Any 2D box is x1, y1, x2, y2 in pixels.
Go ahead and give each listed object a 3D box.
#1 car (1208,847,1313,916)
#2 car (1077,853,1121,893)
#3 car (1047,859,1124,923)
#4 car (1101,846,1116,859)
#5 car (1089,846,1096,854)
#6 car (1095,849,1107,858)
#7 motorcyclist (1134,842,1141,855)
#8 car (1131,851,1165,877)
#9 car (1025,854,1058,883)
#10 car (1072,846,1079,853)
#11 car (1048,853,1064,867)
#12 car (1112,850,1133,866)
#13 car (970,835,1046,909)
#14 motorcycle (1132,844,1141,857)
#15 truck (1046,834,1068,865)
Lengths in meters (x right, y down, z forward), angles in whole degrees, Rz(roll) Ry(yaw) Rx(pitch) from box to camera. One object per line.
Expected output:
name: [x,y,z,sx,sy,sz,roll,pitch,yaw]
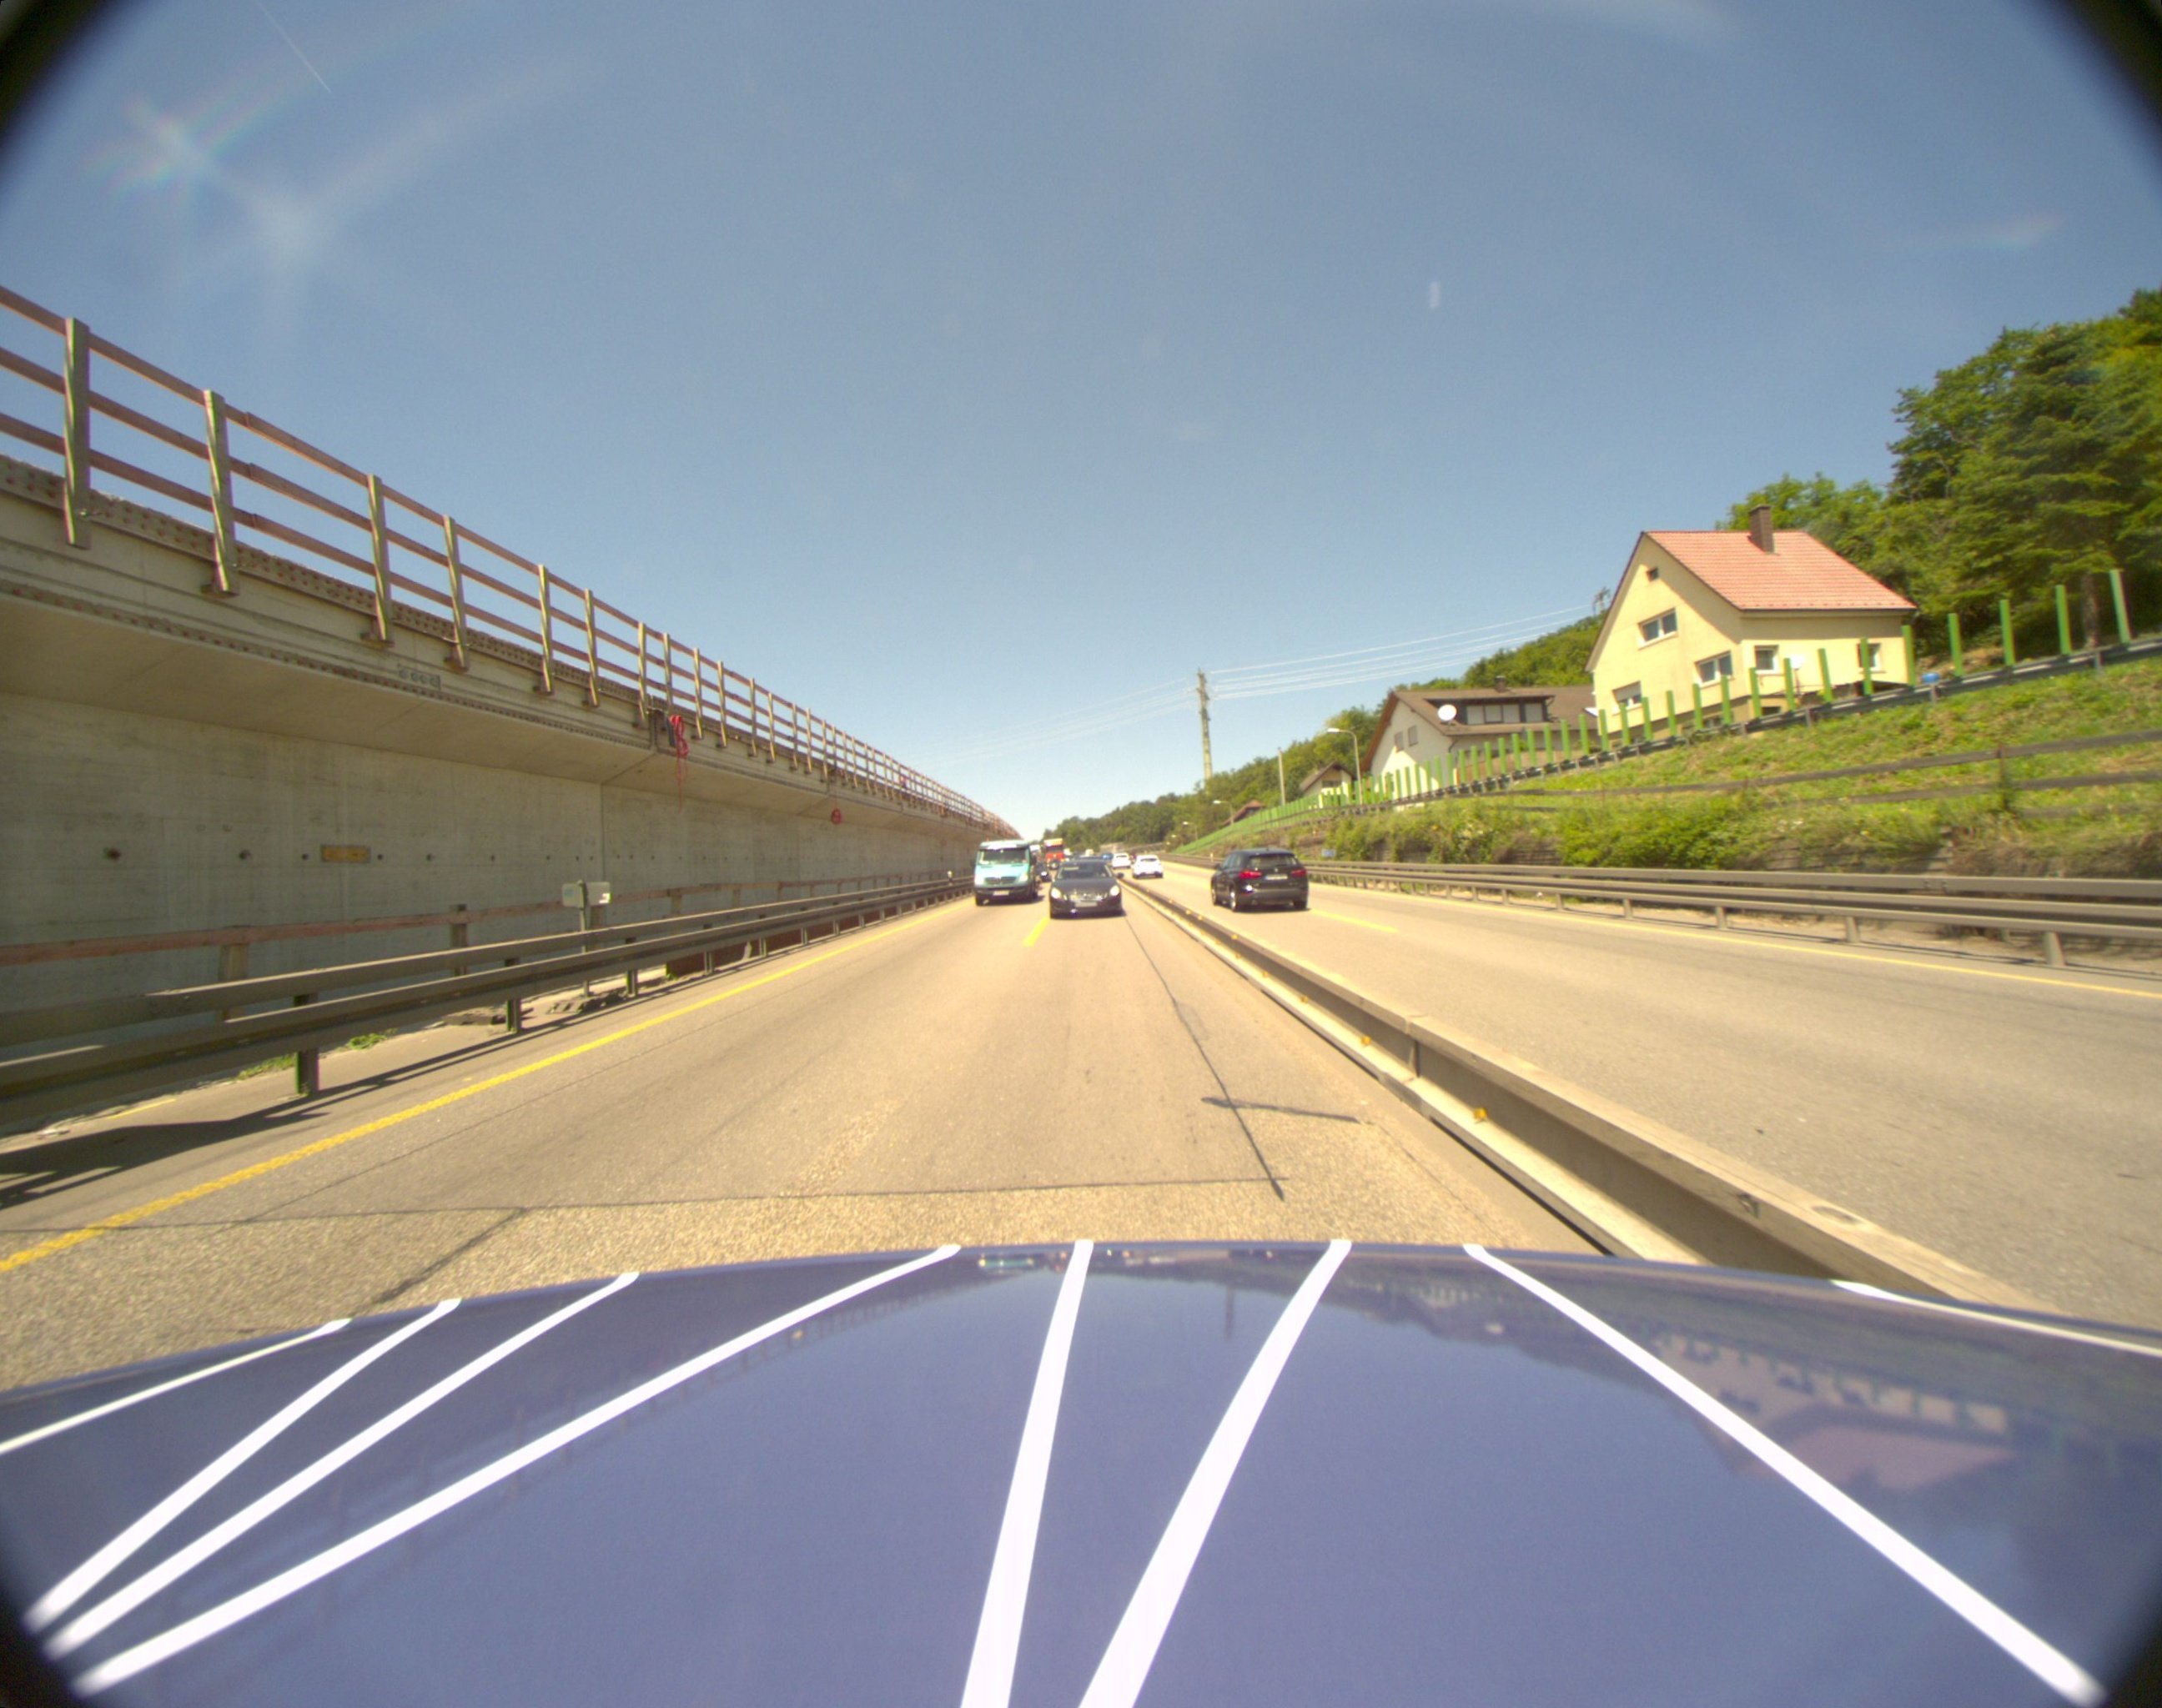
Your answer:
car: [4.607,0.653,20.060,1.704,1.552,4.103,-2,0,-1]
car: [0.849,0.891,38.155,1.860,1.650,3.999,-6,1,-2]
car: [0.023,0.904,20.379,1.793,1.440,4.296,-2,0,-2]
car: [3.642,-0.209,101.424,1.768,1.601,3.891,-3,0,-1]
car: [2.904,-0.953,185.710,1.600,1.823,4.752,-3,1,0]
car: [3.590,-0.102,137.003,1.847,1.521,4.293,-3,1,0]
motorcyclist: [6.624,-0.660,89.502,0.667,1.576,0.736,-2,1,0]
car: [4.214,0.597,48.265,1.695,1.477,3.749,-3,0,-1]
car: [-2.643,0.916,51.209,1.859,1.650,3.999,-6,1,0]
car: [-1.689,-1.368,233.522,1.830,1.914,5.241,-4,0,-5]
car: [-3.039,0.741,93.458,1.674,1.499,3.647,-6,1,0]
car: [3.963,0.366,73.249,1.771,1.477,3.865,-3,0,-1]
car: [-2.615,0.586,29.197,1.968,2.367,7.209,-4,1,1]
motorcycle: [6.567,-0.395,89.427,0.792,1.542,2.621,-3,0,0]
truck: [-3.541,-0.716,110.932,2.651,3.978,11.192,-6,1,-2]
